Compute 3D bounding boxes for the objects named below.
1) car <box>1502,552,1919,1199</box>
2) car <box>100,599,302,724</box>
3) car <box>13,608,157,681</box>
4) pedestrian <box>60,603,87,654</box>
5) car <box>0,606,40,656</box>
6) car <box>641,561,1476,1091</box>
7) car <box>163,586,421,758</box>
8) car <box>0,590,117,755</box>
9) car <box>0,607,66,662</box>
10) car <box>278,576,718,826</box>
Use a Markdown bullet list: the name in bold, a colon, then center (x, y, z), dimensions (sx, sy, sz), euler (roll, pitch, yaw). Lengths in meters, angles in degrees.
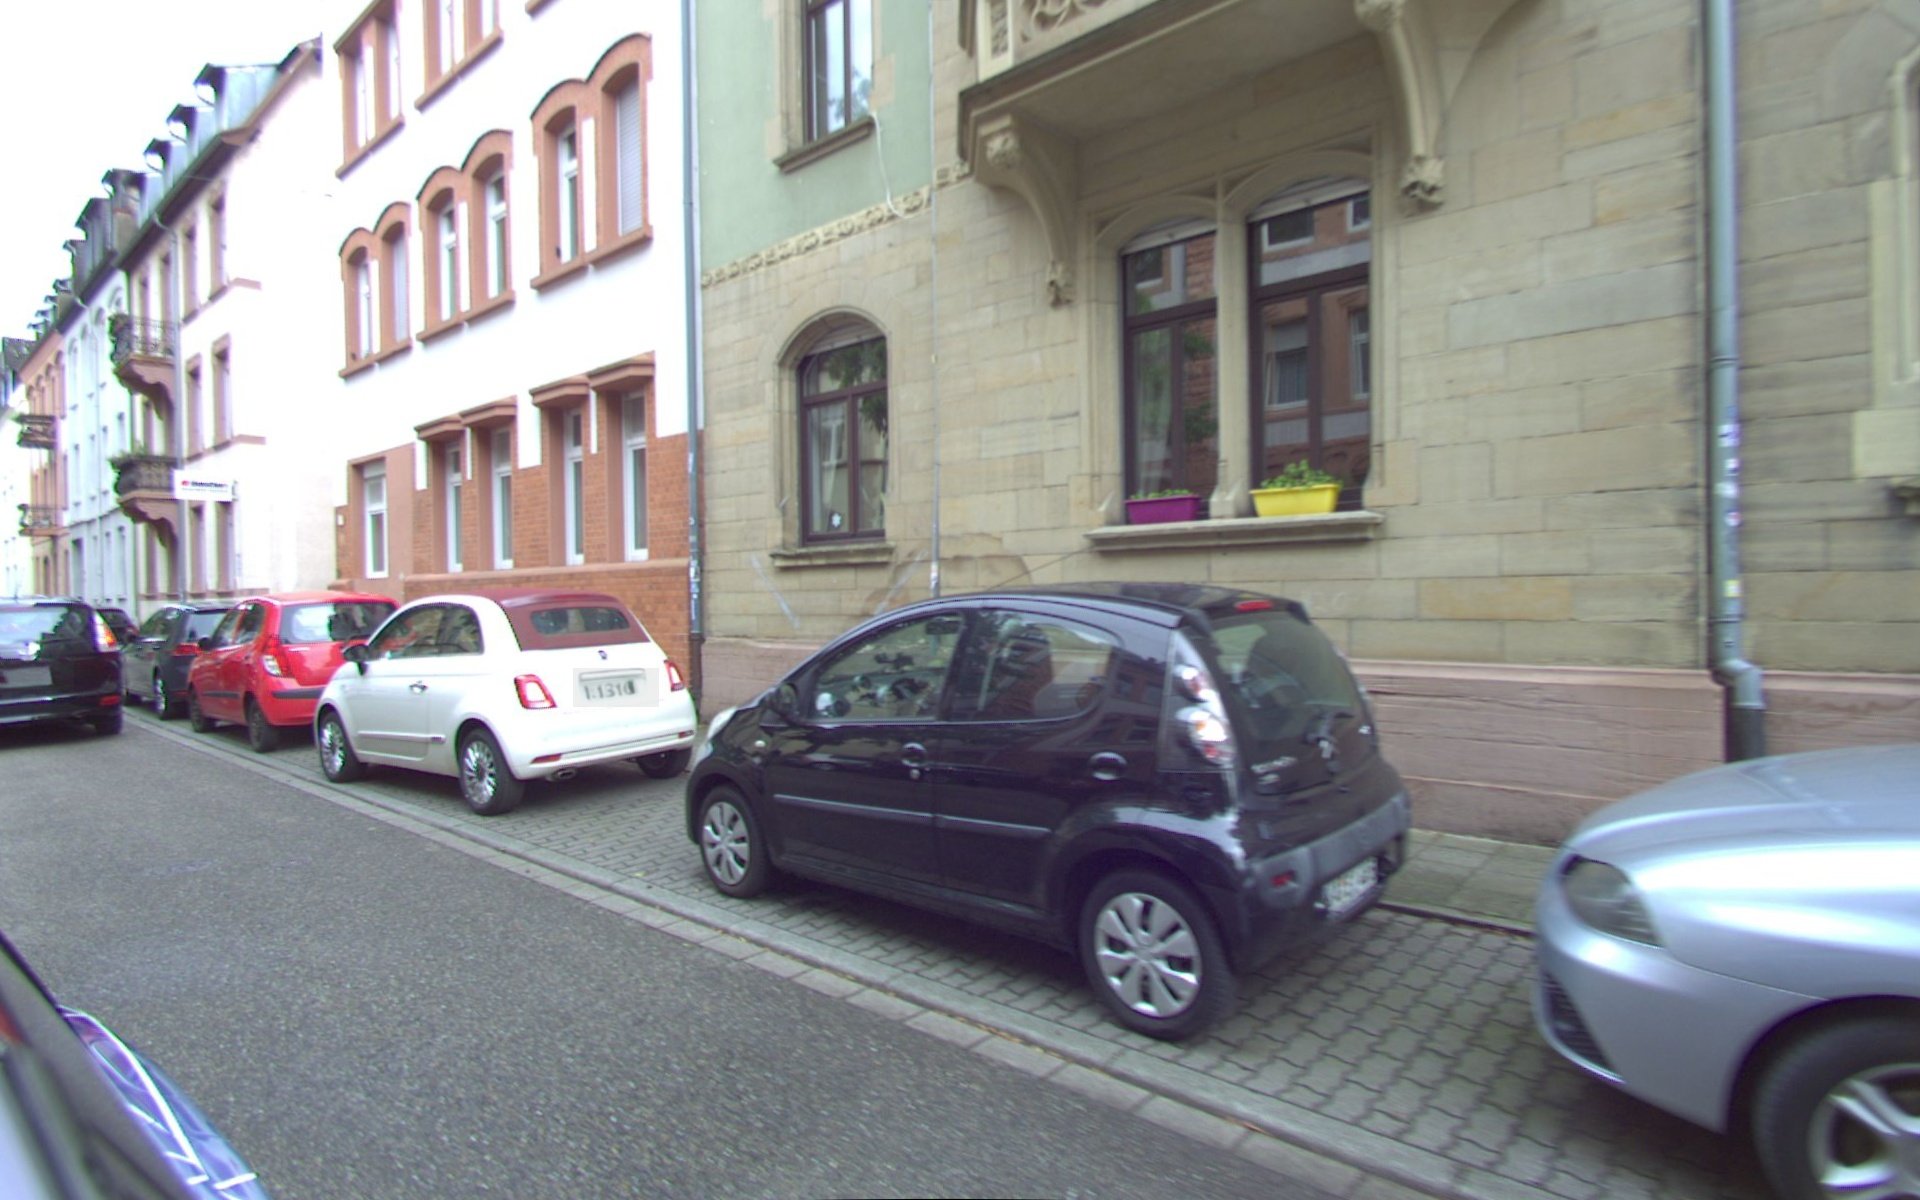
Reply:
- **car**: center (3.244, 0.587, 1.747), dimensions (3.807, 1.445, 1.573), euler (-1, 1, 41)
- **car**: center (-10.502, 0.769, 13.900), dimensions (3.917, 1.427, 1.450), euler (-1, 1, 42)
- **car**: center (-19.275, 0.929, 22.240), dimensions (3.999, 1.401, 1.880), euler (-1, 1, 42)
- **pedestrian**: center (-28.372, 0.906, 32.388), dimensions (0.544, 1.621, 0.570), euler (-1, 0, 41)
- **car**: center (-30.176, 0.963, 31.742), dimensions (3.341, 1.483, 1.589), euler (-1, 0, 41)
- **car**: center (0.195, 0.631, 4.504), dimensions (3.455, 1.445, 1.501), euler (-1, 1, 42)
- **car**: center (-7.361, 0.683, 11.033), dimensions (3.567, 1.541, 1.450), euler (-1, 1, 42)
- **car**: center (-11.183, 0.741, 11.614), dimensions (4.208, 1.642, 1.790), euler (0, 1, 43)
- **car**: center (-26.000, 0.928, 27.869), dimensions (3.471, 1.393, 1.638), euler (-1, 2, 42)
- **car**: center (-3.717, 0.631, 7.938), dimensions (3.548, 1.522, 1.651), euler (-1, 1, 37)
